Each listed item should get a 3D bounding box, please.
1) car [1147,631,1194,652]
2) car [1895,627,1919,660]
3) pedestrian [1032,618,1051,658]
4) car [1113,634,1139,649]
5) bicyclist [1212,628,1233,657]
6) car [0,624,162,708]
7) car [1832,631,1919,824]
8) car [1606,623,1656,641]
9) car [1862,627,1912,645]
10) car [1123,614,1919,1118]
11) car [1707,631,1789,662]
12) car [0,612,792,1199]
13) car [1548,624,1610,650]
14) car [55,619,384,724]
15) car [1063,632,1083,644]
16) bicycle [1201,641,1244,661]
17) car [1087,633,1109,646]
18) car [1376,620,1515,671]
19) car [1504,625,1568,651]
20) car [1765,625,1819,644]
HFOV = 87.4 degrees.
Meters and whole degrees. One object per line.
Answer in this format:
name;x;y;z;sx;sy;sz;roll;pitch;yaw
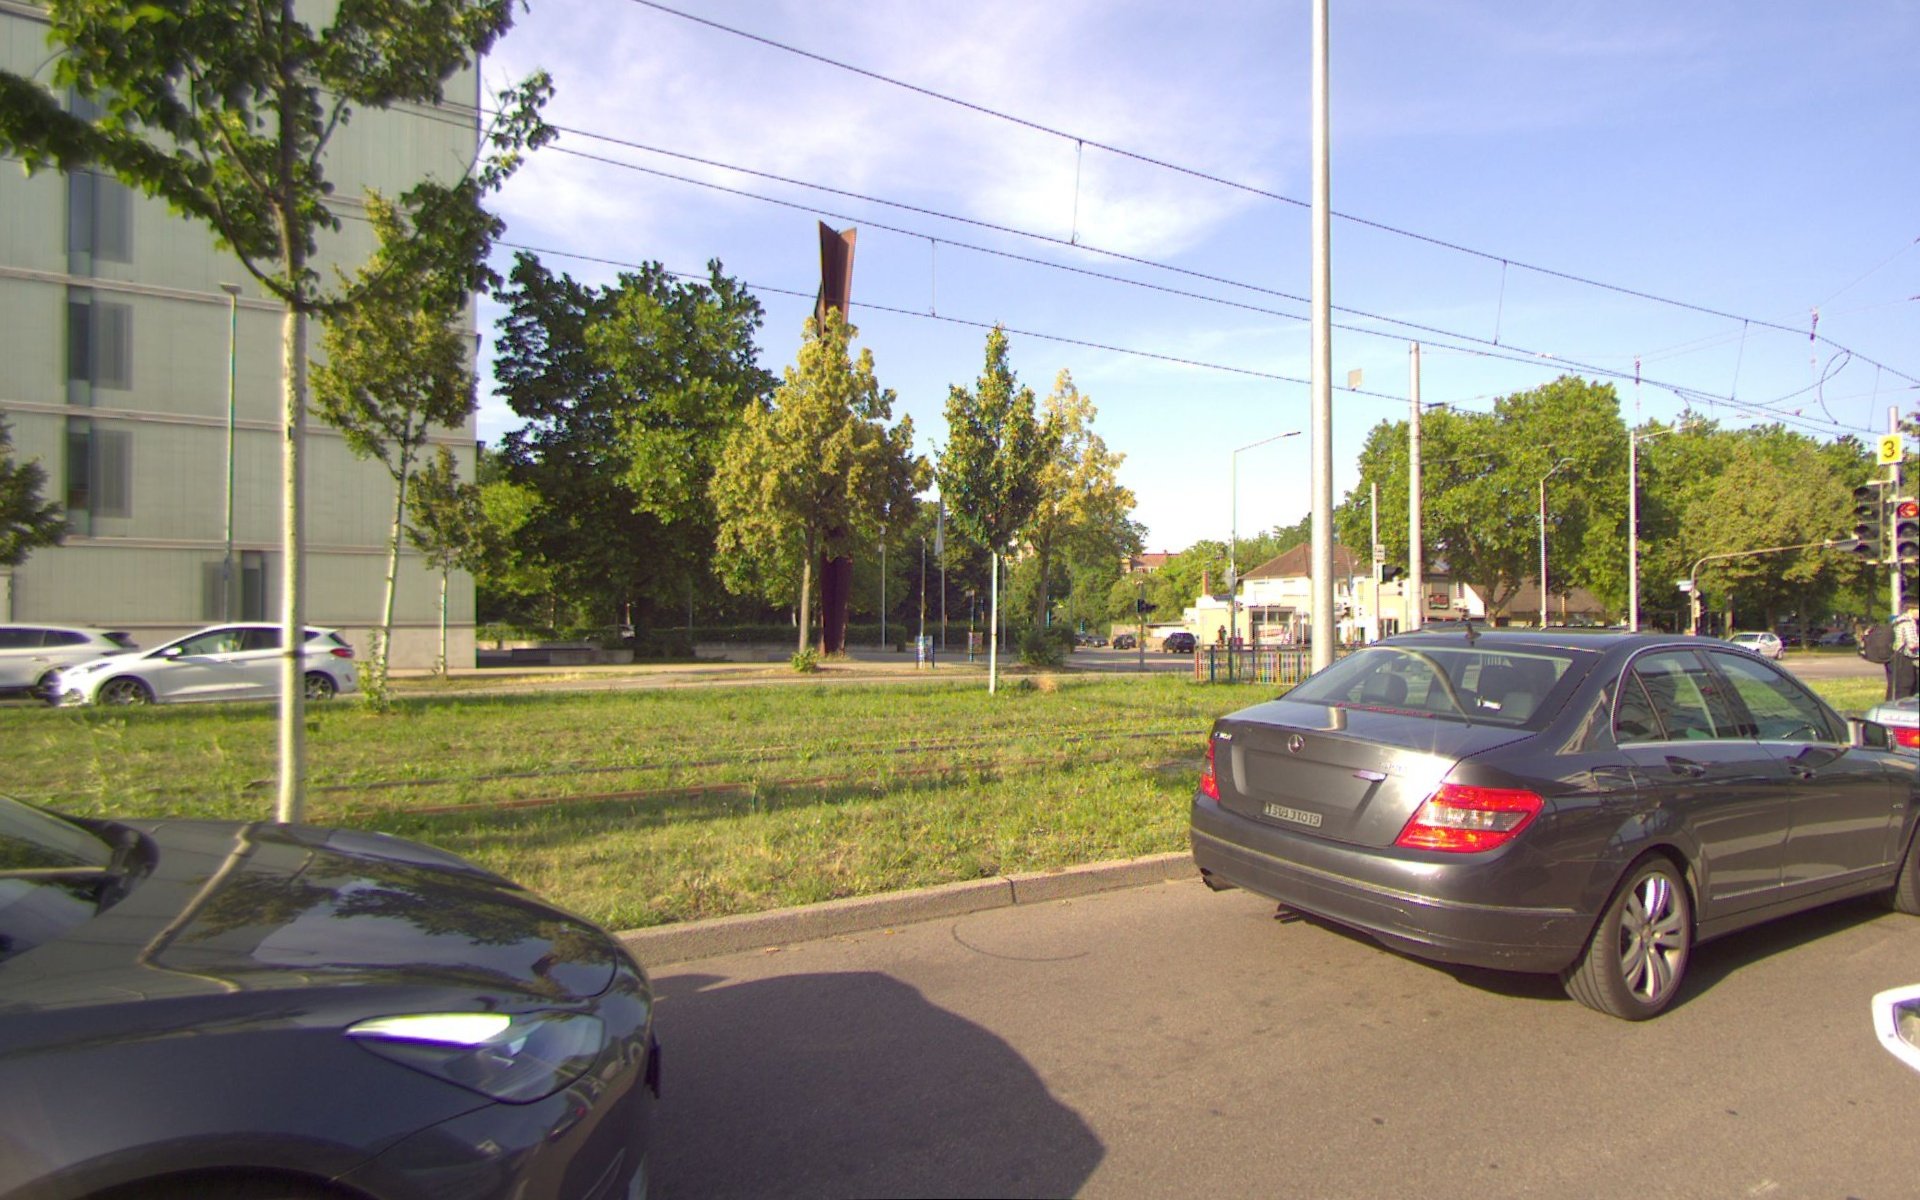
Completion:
car;17.789;3.494;85.067;1.971;1.750;3.979;1;-2;-22
car;48.121;2.107;49.395;4.043;1.524;1.985;-1;-1;-29
pedestrian;4.326;2.030;53.396;0.864;2.135;0.724;-1;-3;0
car;17.523;4.341;106.144;1.667;1.491;3.941;0;-1;-7
bicyclist;13.998;2.248;53.577;0.837;1.512;0.697;-1;-2;38
car;-18.352;1.246;19.377;4.391;1.548;1.896;0;-1;-32
car;8.936;0.946;7.989;4.349;1.348;1.755;0;1;-31
car;58.218;2.783;87.137;3.945;1.580;1.876;1;-2;-25
car;82.478;3.173;89.388;3.945;1.580;1.876;1;-2;-25
car;3.046;0.839;4.934;4.302;1.498;1.778;0;1;-30
car;41.231;2.405;52.548;4.171;1.548;1.869;0;-1;-29
car;-2.611;0.742;1.527;4.283;1.404;1.881;0;1;-30
car;43.678;2.615;70.864;3.945;1.773;1.876;1;-2;-25
car;-12.326;1.107;17.037;4.270;1.548;1.980;0;-1;-36
car;14.576;4.912;129.296;1.667;1.491;3.941;0;-1;-7
bicycle;13.986;2.711;53.575;2.168;1.055;0.697;-1;-2;39
car;16.123;4.568;117.667;1.667;1.491;3.941;0;-1;-7
car;17.559;1.603;36.293;4.932;1.707;1.986;0;-1;-28
car;39.441;2.588;68.816;3.945;1.773;1.876;1;-2;-25
car;68.941;2.871;83.221;3.945;1.580;1.876;1;-2;-25
